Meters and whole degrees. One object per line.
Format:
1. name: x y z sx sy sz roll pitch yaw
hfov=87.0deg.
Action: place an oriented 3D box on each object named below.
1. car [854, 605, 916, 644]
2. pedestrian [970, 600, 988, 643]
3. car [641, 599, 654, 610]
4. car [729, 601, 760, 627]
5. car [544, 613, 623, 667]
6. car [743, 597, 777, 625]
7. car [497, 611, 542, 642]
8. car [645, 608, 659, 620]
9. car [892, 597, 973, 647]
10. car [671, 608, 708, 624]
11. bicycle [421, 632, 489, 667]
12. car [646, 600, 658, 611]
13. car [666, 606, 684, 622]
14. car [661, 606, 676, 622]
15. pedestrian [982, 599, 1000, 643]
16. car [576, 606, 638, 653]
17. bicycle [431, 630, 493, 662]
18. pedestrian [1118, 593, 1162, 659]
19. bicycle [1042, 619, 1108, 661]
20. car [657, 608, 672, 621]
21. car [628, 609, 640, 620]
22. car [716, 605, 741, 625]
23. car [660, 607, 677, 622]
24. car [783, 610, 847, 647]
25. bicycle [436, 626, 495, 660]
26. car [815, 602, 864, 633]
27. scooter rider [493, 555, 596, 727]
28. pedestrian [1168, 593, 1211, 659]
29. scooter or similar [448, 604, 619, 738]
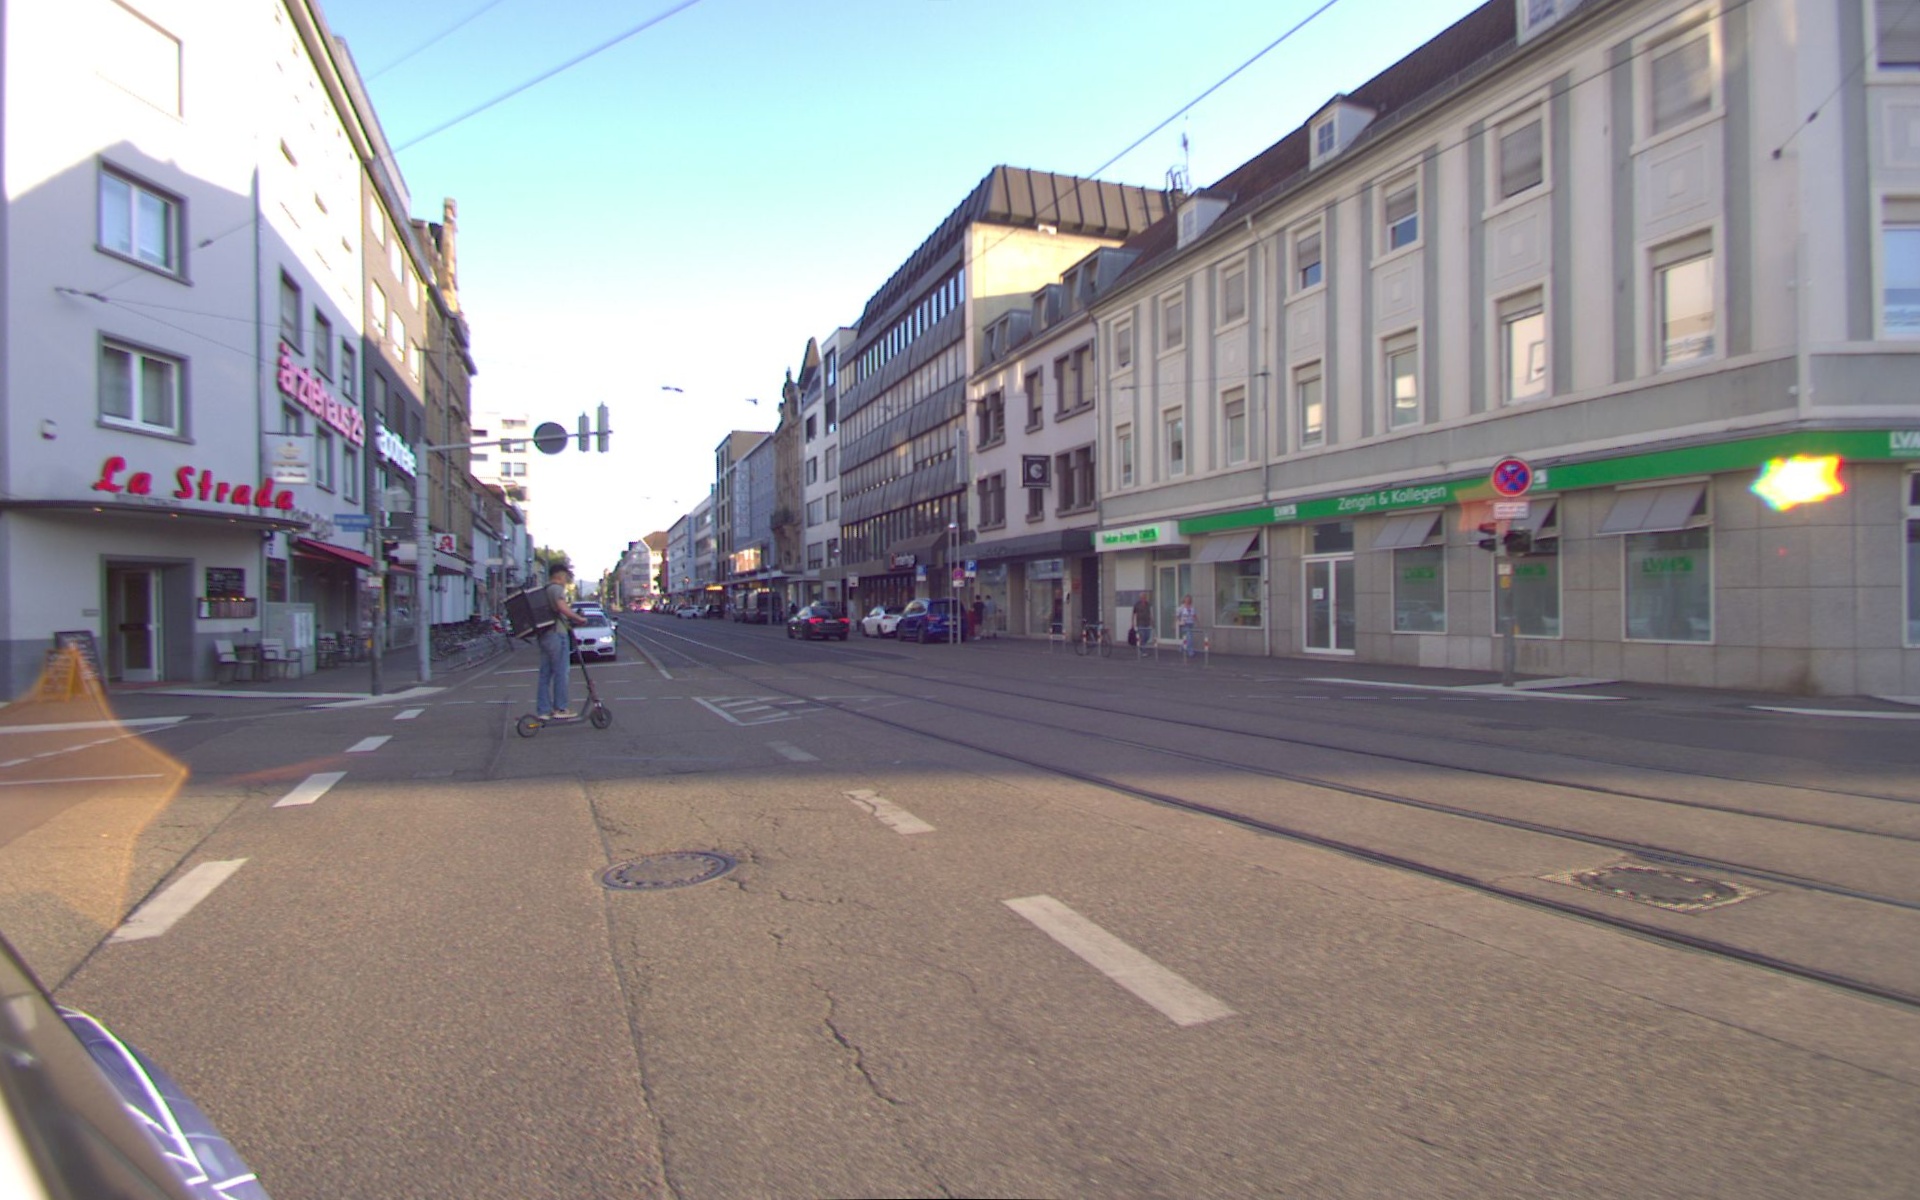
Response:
1. car: -3.440 1.099 45.510 1.673 1.635 4.013 -1 -1 -21
2. pedestrian: 0.751 0.869 40.669 0.501 1.697 0.586 -1 1 -21
3. car: -61.133 0.949 197.887 1.965 2.029 4.013 -1 1 -22
4. car: -17.876 1.183 83.891 1.965 2.074 4.013 -1 -1 -19
5. car: -10.733 1.101 29.068 1.884 1.369 3.757 -2 -1 -17
6. car: -15.388 0.796 77.599 1.965 2.029 4.013 -1 1 -20
7. car: -23.742 1.387 54.640 2.008 1.571 4.401 -1 -1 -21
8. car: -53.409 2.445 175.386 1.965 2.029 4.013 -1 1 -20
9. car: -1.147 0.816 39.882 1.883 1.809 4.143 -2 1 -21
10. car: -29.817 1.742 111.525 3.827 1.761 1.786 -1 -1 34
11. bicycle: -15.168 1.477 30.410 1.797 1.039 0.445 1 -2 -26
12. car: -58.716 1.062 192.899 1.965 2.029 4.013 -1 1 -22
13. car: -39.517 1.968 140.167 1.965 2.029 4.013 -1 1 -22
14. car: -44.422 2.107 154.228 1.943 2.209 4.147 -1 1 -20
15. pedestrian: 1.256 0.832 41.007 0.507 1.747 0.603 -1 1 -20
16. car: -12.844 1.020 37.029 1.966 1.490 4.012 -1 1 -17
17. bicycle: -15.651 1.429 31.812 1.732 0.956 0.445 1 0 -26
18. pedestrian: 4.916 0.697 27.609 0.813 1.741 0.816 -2 0 -20
19. bicycle: 3.165 1.094 27.882 1.714 1.067 0.499 -1 0 -11
20. car: -46.873 2.273 160.431 1.927 2.029 4.013 -1 1 -22
21. car: -62.826 2.735 195.118 1.965 2.029 4.013 -1 1 -22
22. car: -23.155 1.475 101.127 1.803 1.932 4.013 -1 -1 -21
23. car: -42.660 2.071 148.175 1.941 2.029 4.013 -1 1 -22
24. car: -6.241 1.202 43.195 1.864 1.491 4.557 0 -2 -20
25. bicycle: -16.173 1.391 33.123 1.732 1.079 0.445 1 0 -26
26. car: -6.619 0.921 55.461 1.789 1.569 4.013 -1 1 -20
27. scooter rider: -4.627 0.437 11.267 0.776 1.821 0.814 -1 -1 -44
28. pedestrian: 5.958 0.673 26.279 0.815 1.653 0.814 -2 -1 -4
29. scooter or similar: -4.684 0.738 11.185 0.546 1.361 1.645 -2 0 45
